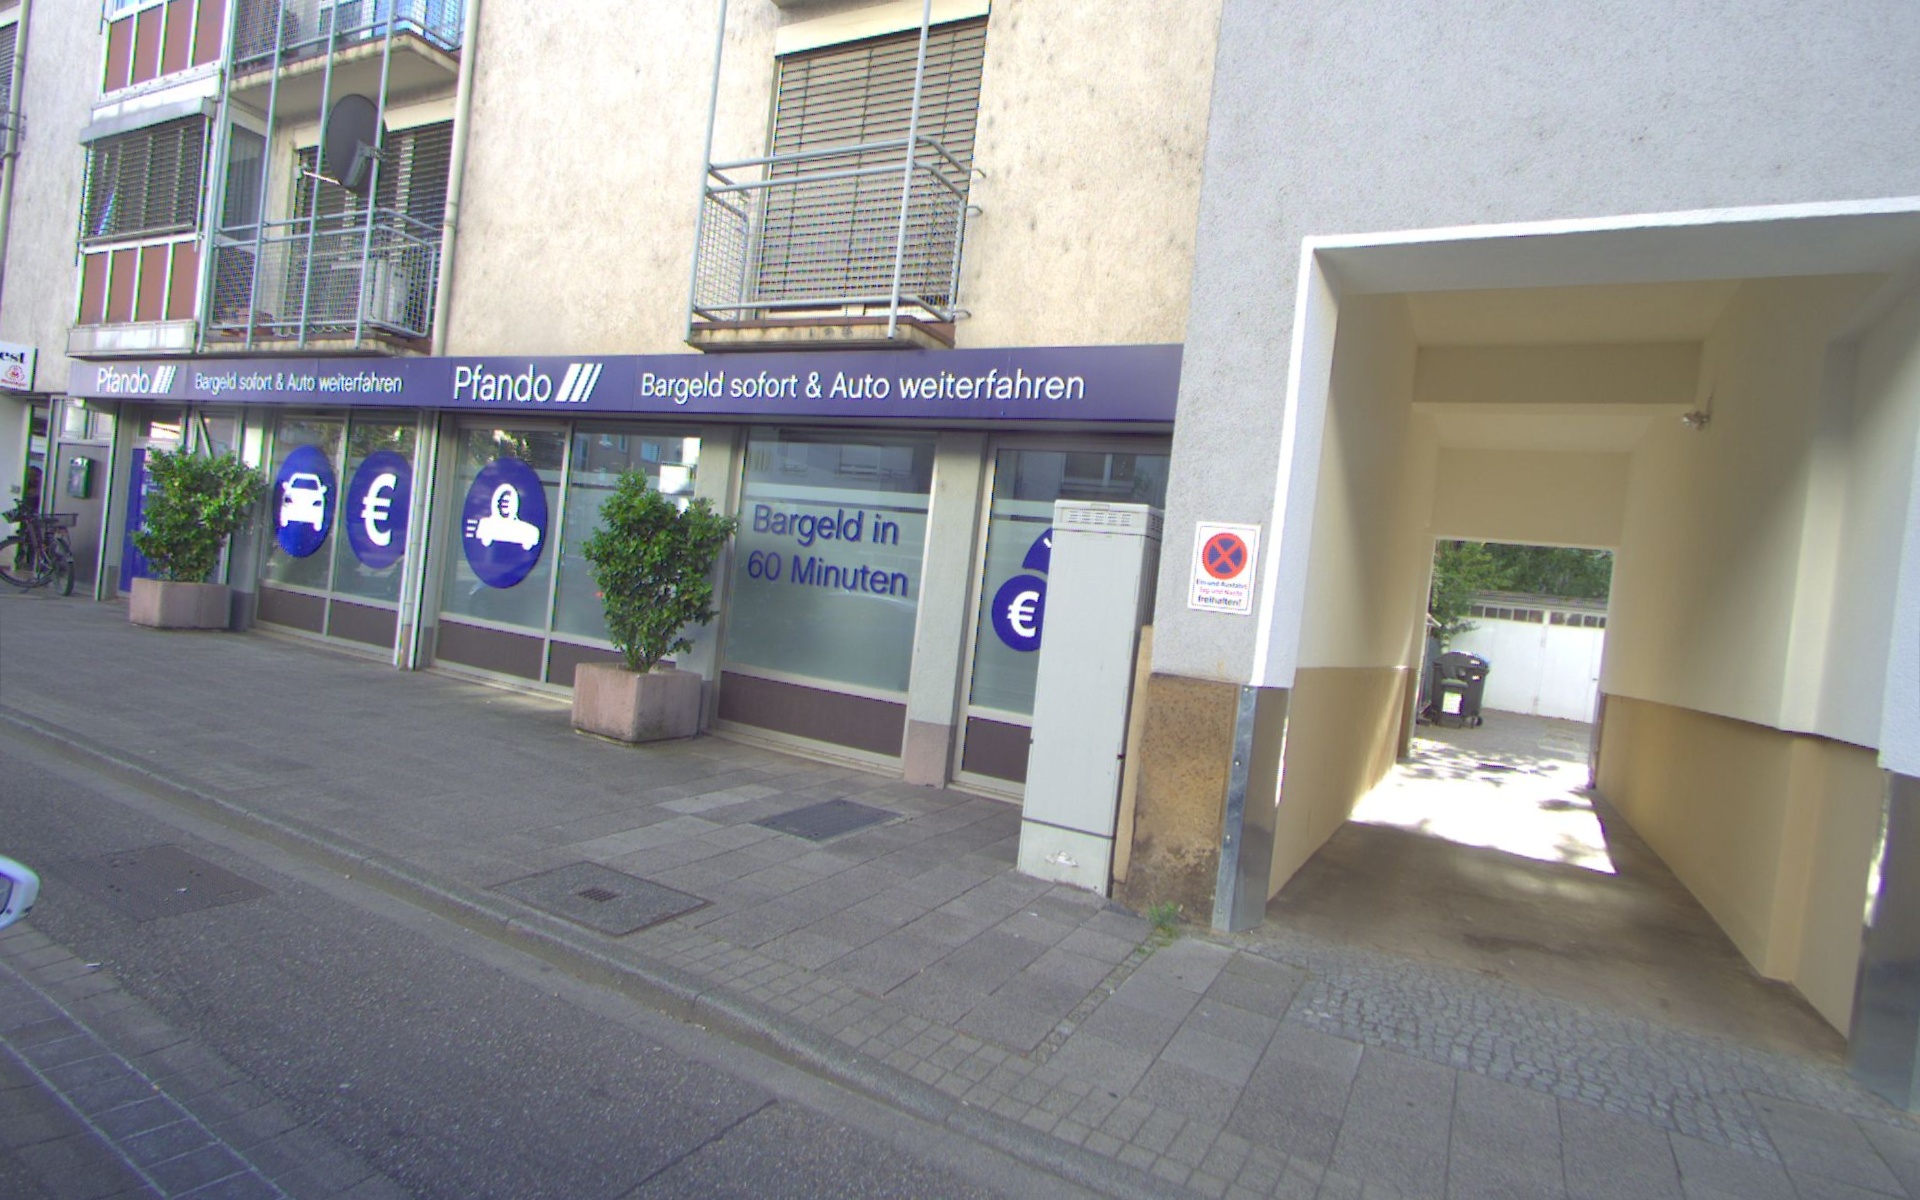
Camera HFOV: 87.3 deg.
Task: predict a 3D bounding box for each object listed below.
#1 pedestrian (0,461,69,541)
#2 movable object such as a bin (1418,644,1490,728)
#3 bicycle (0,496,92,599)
[{"bbox_3d":[-14.322,-1.516,15.439,0.667,1.102,0.624,7,2,-5],"label":"pedestrian"},{"bbox_3d":[10.036,1.745,20.415,1.092,1.511,1.329,6,-2,30],"label":"movable object such as a bin"},{"bbox_3d":[-11.850,-0.691,12.861,1.747,1.176,0.497,6,0,29],"label":"bicycle"}]
